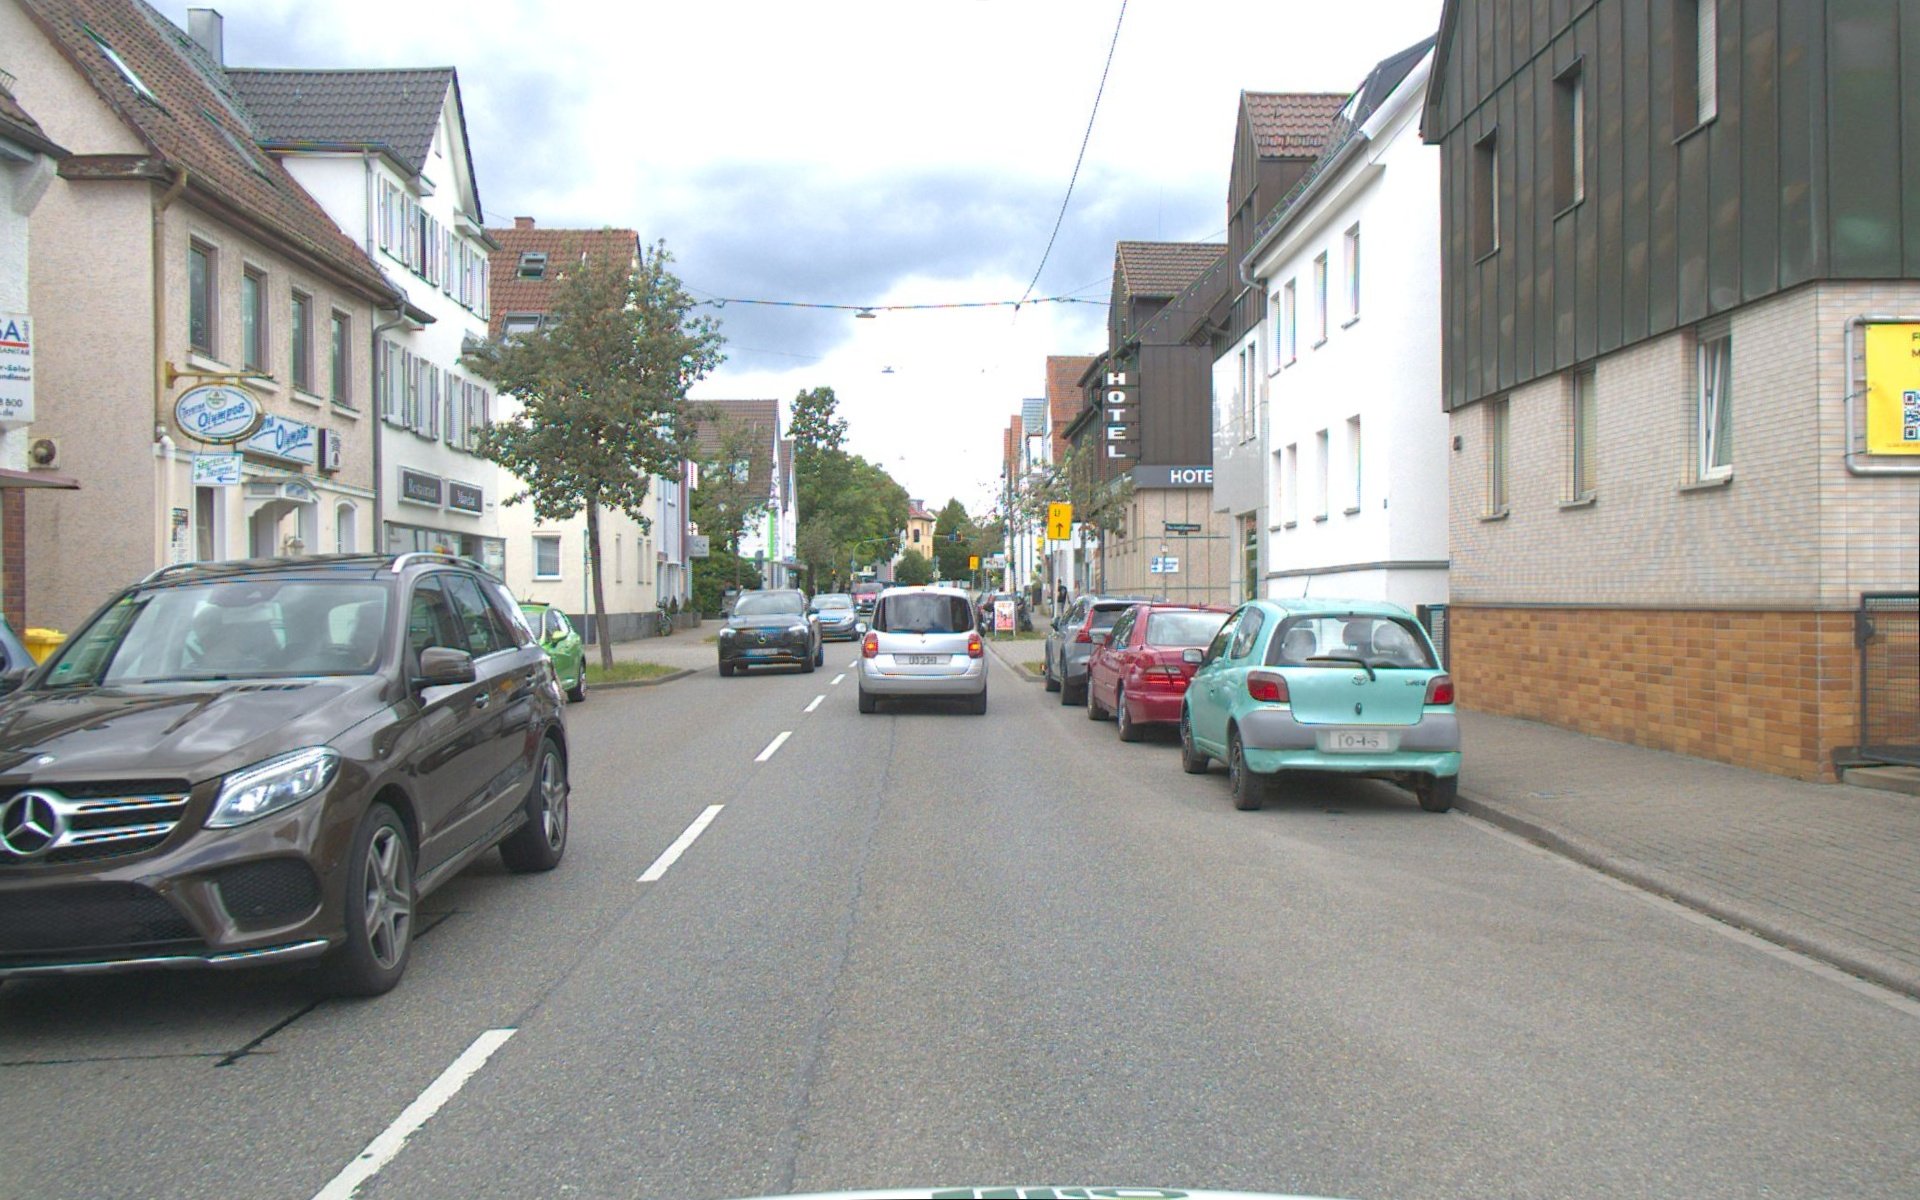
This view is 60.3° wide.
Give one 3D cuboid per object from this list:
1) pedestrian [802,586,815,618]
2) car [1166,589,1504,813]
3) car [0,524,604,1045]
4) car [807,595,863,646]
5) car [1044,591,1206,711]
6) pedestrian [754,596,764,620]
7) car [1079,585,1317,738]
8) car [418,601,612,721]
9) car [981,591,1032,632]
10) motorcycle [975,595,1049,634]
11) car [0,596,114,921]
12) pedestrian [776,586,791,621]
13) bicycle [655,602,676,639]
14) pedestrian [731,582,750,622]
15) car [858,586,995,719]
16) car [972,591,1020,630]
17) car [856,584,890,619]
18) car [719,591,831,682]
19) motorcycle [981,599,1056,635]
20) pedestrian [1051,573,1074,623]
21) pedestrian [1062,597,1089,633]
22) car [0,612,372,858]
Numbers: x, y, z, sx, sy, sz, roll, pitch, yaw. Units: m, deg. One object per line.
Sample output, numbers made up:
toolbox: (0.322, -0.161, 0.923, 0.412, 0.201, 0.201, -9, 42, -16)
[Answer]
pedestrian: (-9.042, 0.123, 98.727, 0.702, 1.909, 0.695, 0, 0, -2)
car: (2.841, 0.694, 13.428, 1.794, 1.524, 3.993, 1, 0, -1)
car: (-3.120, 0.648, 7.934, 1.862, 1.768, 4.365, -2, 0, -1)
car: (-3.898, 0.611, 52.115, 1.649, 1.473, 4.017, -2, 0, -4)
car: (2.290, 0.673, 24.010, 1.837, 1.566, 4.512, 0, 0, -1)
pedestrian: (-11.062, 0.434, 90.908, 0.482, 1.300, 0.588, 0, 0, -1)
car: (2.474, 0.592, 18.294, 1.720, 1.471, 4.451, 1, 0, -4)
car: (-6.176, 0.789, 23.381, 1.648, 1.473, 4.020, -2, 0, -1)
car: (1.704, 0.409, 61.355, 1.666, 1.455, 3.889, 0, 0, -2)
motorcycle: (1.837, 0.511, 58.209, 2.680, 1.359, 0.692, 0, 0, -32)
car: (-5.698, 0.829, 7.232, 1.766, 1.627, 4.304, -2, 0, -1)
pedestrian: (-9.511, 0.181, 88.955, 0.746, 1.909, 0.695, 0, 0, -2)
bicycle: (-9.735, 0.671, 54.760, 0.504, 1.174, 1.665, 0, 0, -4)
pedestrian: (-10.265, 0.092, 77.425, 0.747, 1.822, 0.889, 0, 0, -2)
car: (-0.421, 0.633, 22.140, 1.648, 1.593, 3.993, 1, 0, -1)
car: (1.410, 0.393, 66.160, 1.666, 1.493, 4.237, 0, 0, -2)
car: (-5.233, 0.065, 99.718, 1.913, 2.049, 3.999, 0, 0, -1)
car: (-3.571, 0.662, 32.656, 1.758, 1.606, 4.191, -2, 0, -1)
motorcycle: (2.031, 0.591, 57.168, 2.701, 1.204, 0.692, 0, 0, -32)
pedestrian: (4.059, -0.098, 65.526, 0.839, 1.961, 0.899, 0, 0, -1)
pedestrian: (4.405, 0.562, 63.169, 0.870, 1.322, 0.966, -4, 0, -1)
car: (-5.874, 0.878, 12.474, 1.549, 1.534, 3.811, 0, 0, -1)
